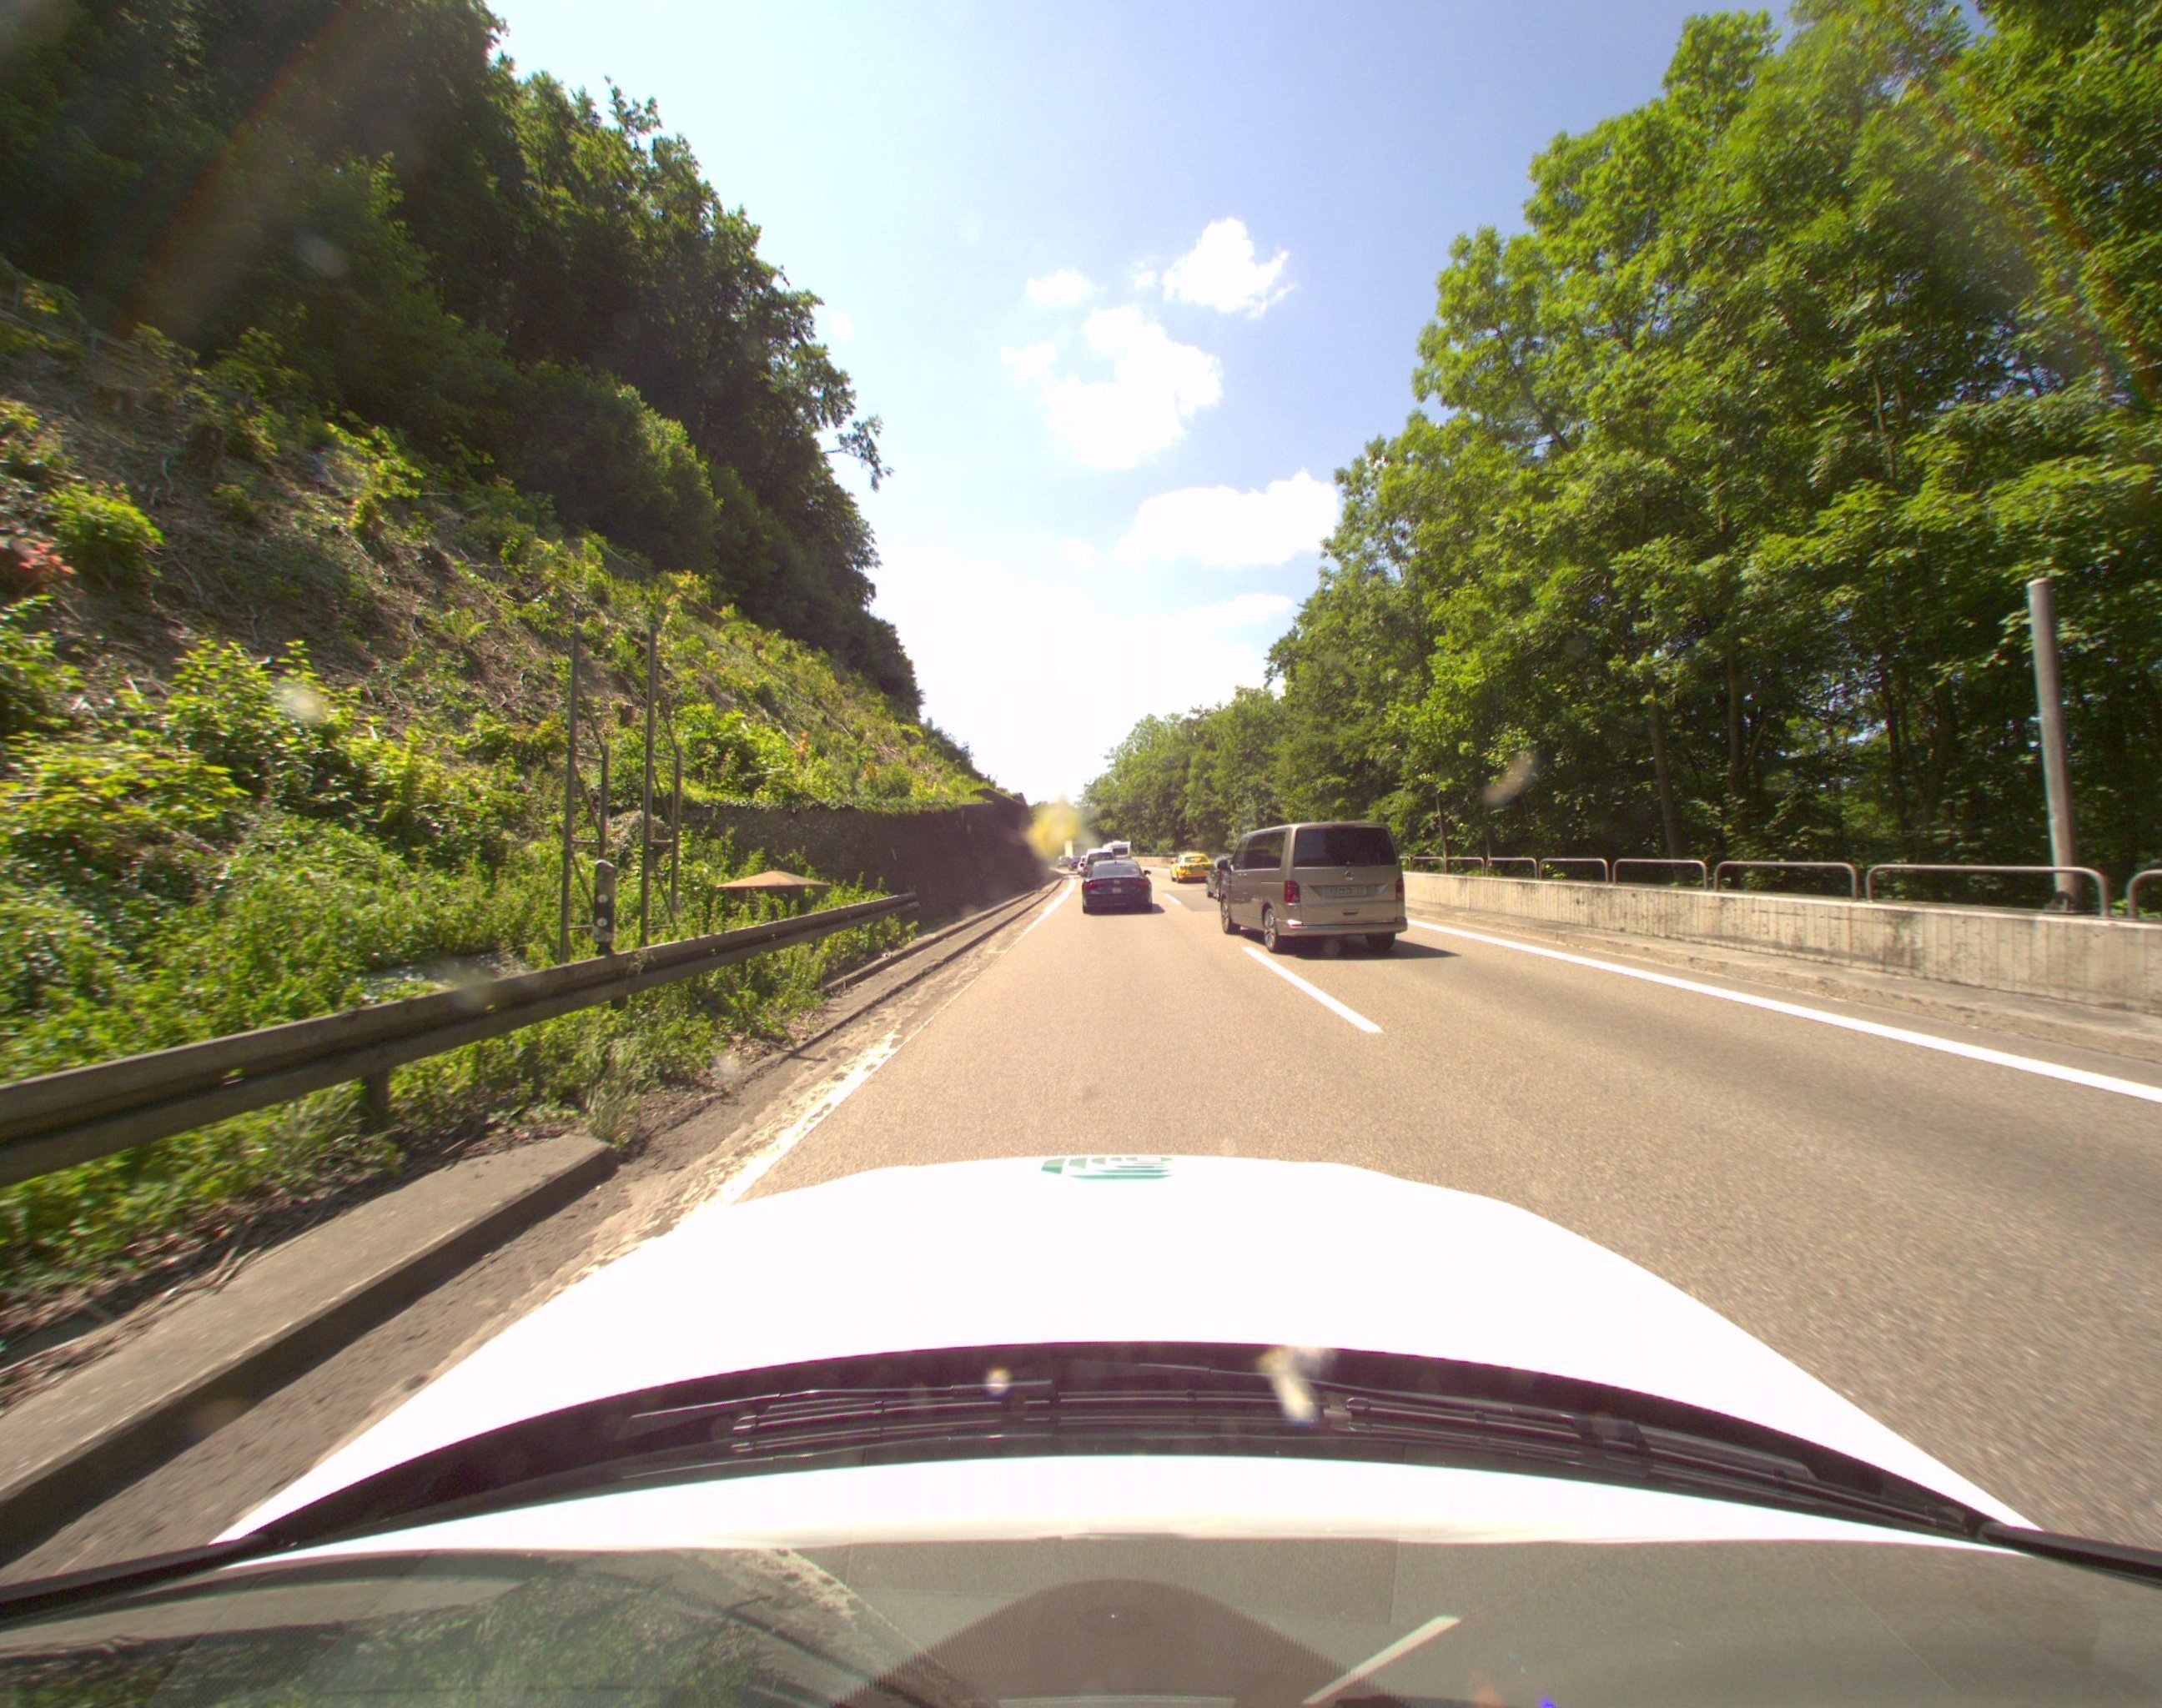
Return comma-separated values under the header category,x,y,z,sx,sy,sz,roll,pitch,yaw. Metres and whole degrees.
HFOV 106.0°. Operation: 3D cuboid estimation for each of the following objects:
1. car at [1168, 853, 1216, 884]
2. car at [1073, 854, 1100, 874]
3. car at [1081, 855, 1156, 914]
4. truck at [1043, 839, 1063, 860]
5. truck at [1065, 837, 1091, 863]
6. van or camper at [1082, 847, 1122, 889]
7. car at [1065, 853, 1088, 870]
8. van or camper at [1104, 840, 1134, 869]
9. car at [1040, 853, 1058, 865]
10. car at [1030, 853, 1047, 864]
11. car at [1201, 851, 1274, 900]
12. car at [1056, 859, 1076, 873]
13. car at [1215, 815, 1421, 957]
category,x,y,z,sx,sy,sz,roll,pitch,yaw
car,5.622,0.695,41.733,1.803,1.478,4.079,2,0,-1
car,0.418,0.830,67.039,1.893,1.584,3.763,0,0,-6
car,1.017,0.794,23.155,1.898,1.489,4.380,-1,0,1
truck,-5.040,-0.827,143.899,3.158,3.468,8.208,2,0,-4
truck,-0.499,-0.629,121.417,2.922,3.687,7.706,2,0,-7
van or camper,1.070,0.678,40.401,1.846,1.942,4.167,2,0,2
car,-0.523,0.768,83.304,1.856,1.619,3.990,-3,0,-7
van or camper,3.849,0.079,84.072,2.597,2.855,6.329,0,0,-3
car,-4.353,0.640,110.996,1.754,1.571,3.752,0,0,-15
car,-6.546,0.667,125.832,1.755,1.571,3.750,0,0,-16
car,5.033,0.666,26.652,1.679,1.458,4.001,-1,0,1
car,-1.786,1.448,97.872,1.991,1.618,3.991,1,0,-6
car,3.686,0.449,13.683,1.936,1.931,4.690,-1,0,-2
